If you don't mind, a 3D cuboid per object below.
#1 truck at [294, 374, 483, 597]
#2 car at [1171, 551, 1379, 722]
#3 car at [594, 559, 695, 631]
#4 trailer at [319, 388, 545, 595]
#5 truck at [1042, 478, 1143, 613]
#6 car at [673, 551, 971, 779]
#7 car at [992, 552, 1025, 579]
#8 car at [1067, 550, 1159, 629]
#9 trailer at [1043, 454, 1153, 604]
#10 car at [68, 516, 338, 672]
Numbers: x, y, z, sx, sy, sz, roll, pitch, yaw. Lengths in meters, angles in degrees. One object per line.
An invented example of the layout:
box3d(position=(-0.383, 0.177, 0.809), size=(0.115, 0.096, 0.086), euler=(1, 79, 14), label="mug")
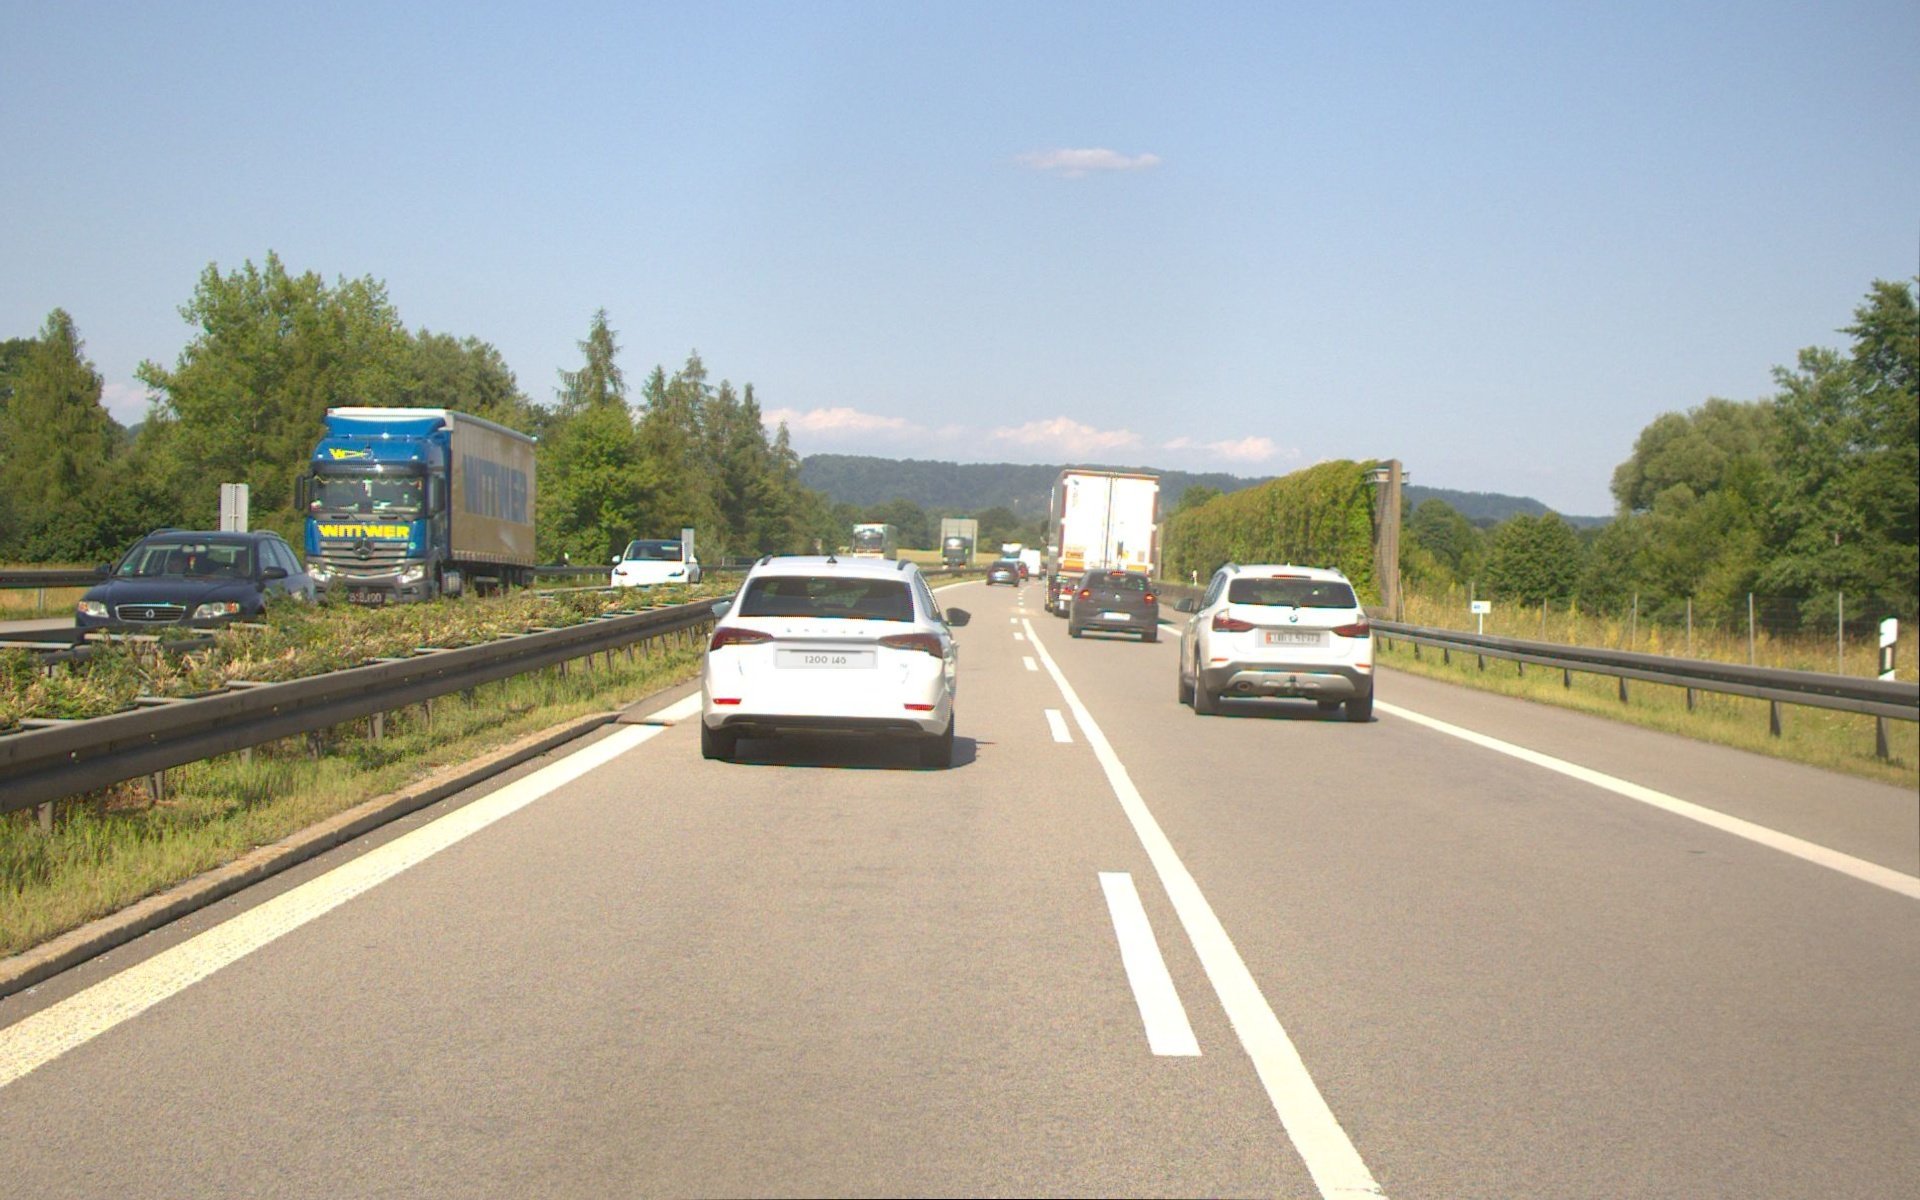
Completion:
box3d(position=(-11.597, -2.279, 70.232), size=(2.740, 4.288, 6.335), euler=(1, 1, 0), label="truck")
box3d(position=(3.223, 0.320, 36.025), size=(1.685, 1.490, 4.987), euler=(4, 2, 1), label="car")
box3d(position=(-7.569, -0.137, 82.842), size=(1.993, 1.659, 4.634), euler=(1, 1, 0), label="car")
box3d(position=(-11.613, -2.311, 77.190), size=(2.787, 4.146, 14.395), euler=(1, 1, 0), label="trailer")
box3d(position=(4.036, -1.681, 106.049), size=(2.840, 3.953, 7.044), euler=(2, 1, 1), label="truck")
box3d(position=(-0.916, 0.395, 25.641), size=(1.840, 1.416, 5.254), euler=(3, 1, 1), label="car")
box3d(position=(2.803, -2.009, 198.557), size=(1.771, 1.416, 4.495), euler=(4, 1, 1), label="car")
box3d(position=(3.085, -0.239, 70.053), size=(1.665, 1.449, 4.544), euler=(4, 1, 1), label="car")
box3d(position=(3.902, -2.007, 99.303), size=(2.818, 3.953, 14.160), euler=(2, 1, 2), label="trailer")
box3d(position=(-7.571, -0.090, 34.823), size=(1.680, 1.454, 4.926), euler=(0, 1, 0), label="car")
